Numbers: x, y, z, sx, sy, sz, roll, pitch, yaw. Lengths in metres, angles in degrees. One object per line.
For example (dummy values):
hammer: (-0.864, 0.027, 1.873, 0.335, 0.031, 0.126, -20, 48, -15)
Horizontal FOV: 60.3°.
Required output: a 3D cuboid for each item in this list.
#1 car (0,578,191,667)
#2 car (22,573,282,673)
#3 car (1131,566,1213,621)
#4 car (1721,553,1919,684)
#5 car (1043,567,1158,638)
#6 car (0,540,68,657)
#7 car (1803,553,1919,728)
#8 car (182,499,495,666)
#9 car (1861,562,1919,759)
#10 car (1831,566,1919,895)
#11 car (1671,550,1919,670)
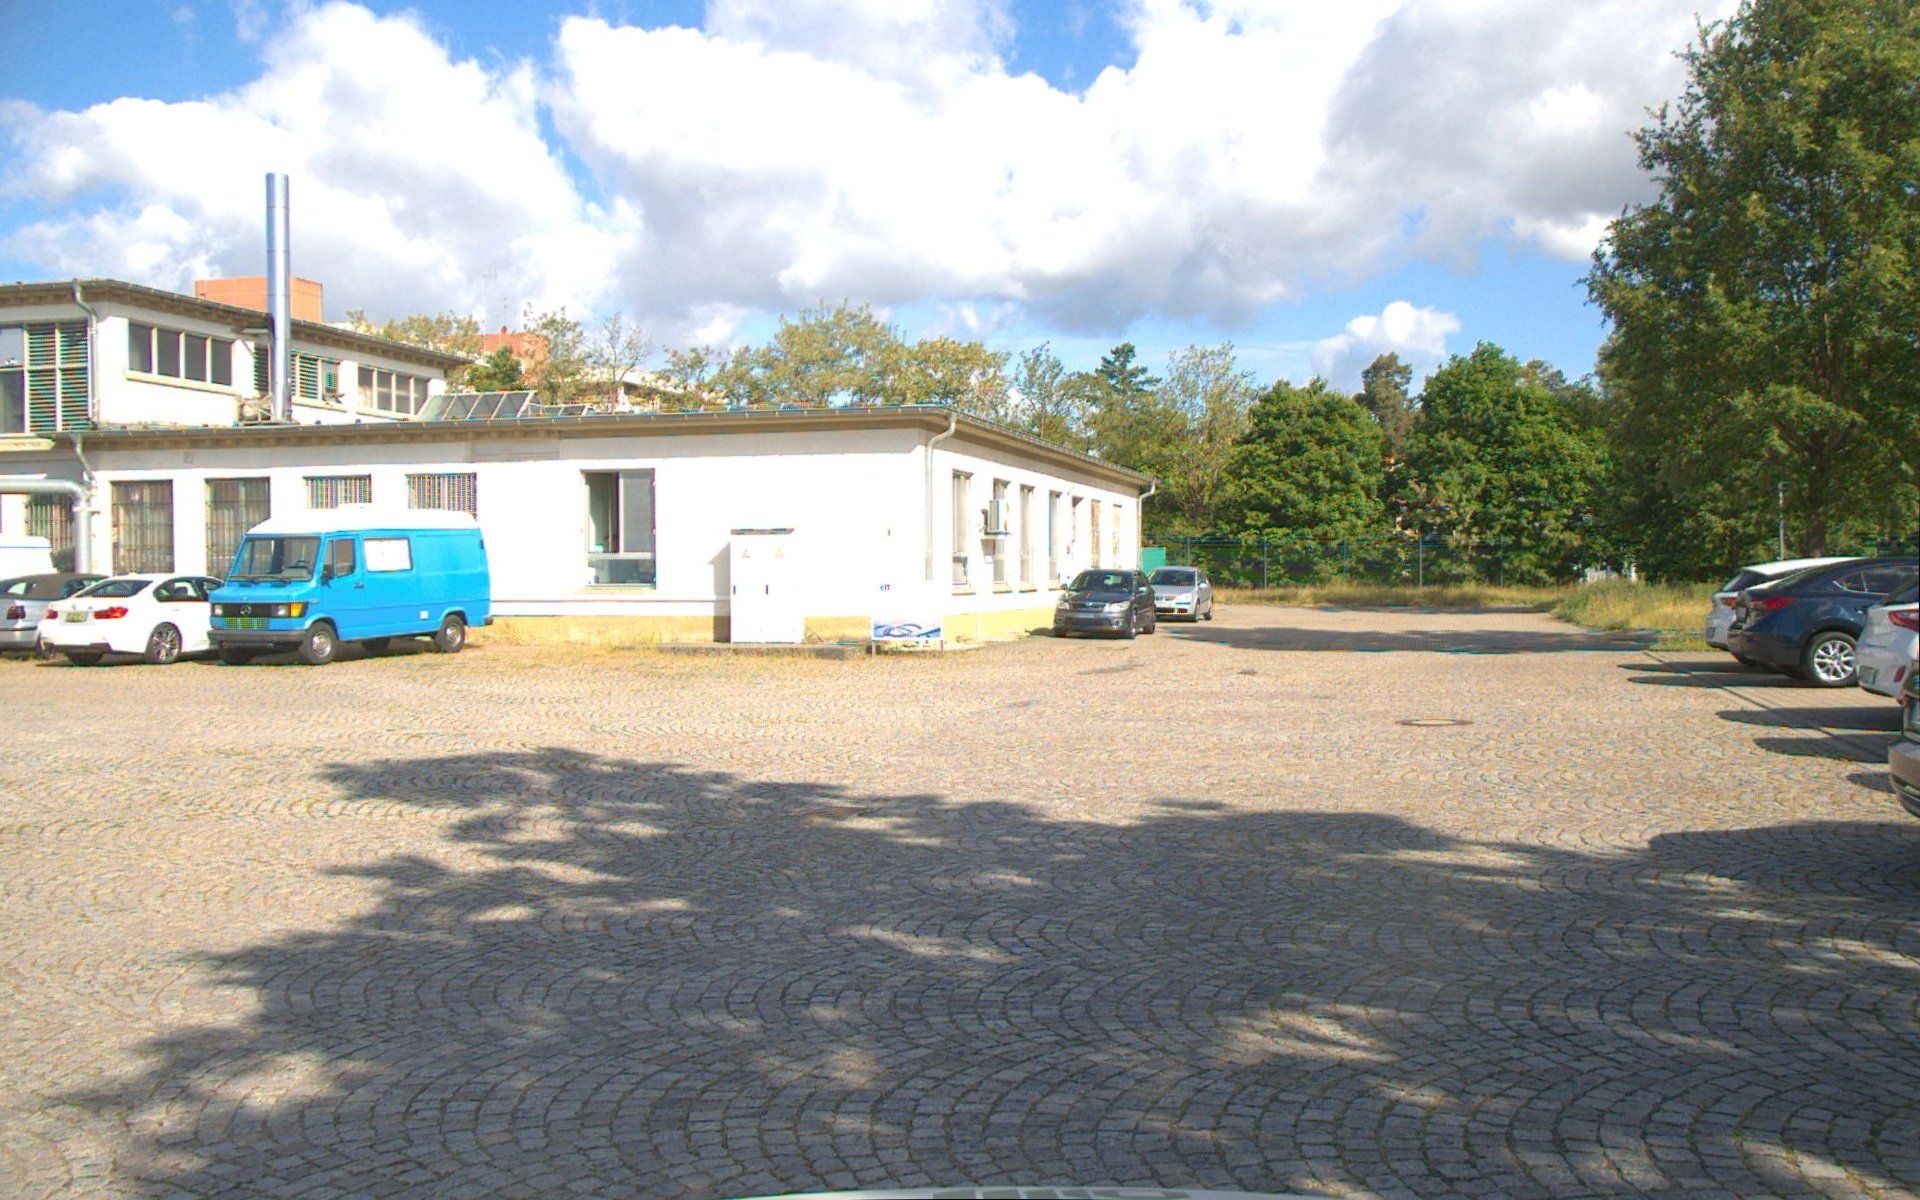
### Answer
car: (-15.623, 0.346, 29.063, 1.651, 1.423, 3.833, 0, 1, 18)
car: (-13.255, 0.334, 27.375, 1.696, 1.430, 3.741, -1, 2, 18)
car: (5.898, -0.220, 45.706, 1.651, 1.460, 3.989, 0, 1, 16)
car: (11.154, 0.171, 19.375, 3.830, 1.442, 1.693, -2, 0, 17)
car: (3.119, 0.005, 35.999, 1.726, 1.460, 3.995, 0, 1, 16)
car: (-18.546, -0.002, 29.266, 1.961, 2.117, 4.807, 0, 1, 19)
car: (9.666, 0.278, 14.415, 3.830, 1.472, 1.757, -2, 0, 17)
car: (-10.239, -0.303, 27.801, 2.039, 2.526, 5.241, 0, 1, 19)
car: (8.879, 0.363, 11.963, 3.830, 1.396, 1.729, -2, 0, 17)
car: (6.592, 0.503, 7.216, 4.618, 1.448, 1.758, -2, 0, 15)
car: (11.660, 0.106, 21.996, 3.830, 1.460, 1.797, -2, 0, 17)
